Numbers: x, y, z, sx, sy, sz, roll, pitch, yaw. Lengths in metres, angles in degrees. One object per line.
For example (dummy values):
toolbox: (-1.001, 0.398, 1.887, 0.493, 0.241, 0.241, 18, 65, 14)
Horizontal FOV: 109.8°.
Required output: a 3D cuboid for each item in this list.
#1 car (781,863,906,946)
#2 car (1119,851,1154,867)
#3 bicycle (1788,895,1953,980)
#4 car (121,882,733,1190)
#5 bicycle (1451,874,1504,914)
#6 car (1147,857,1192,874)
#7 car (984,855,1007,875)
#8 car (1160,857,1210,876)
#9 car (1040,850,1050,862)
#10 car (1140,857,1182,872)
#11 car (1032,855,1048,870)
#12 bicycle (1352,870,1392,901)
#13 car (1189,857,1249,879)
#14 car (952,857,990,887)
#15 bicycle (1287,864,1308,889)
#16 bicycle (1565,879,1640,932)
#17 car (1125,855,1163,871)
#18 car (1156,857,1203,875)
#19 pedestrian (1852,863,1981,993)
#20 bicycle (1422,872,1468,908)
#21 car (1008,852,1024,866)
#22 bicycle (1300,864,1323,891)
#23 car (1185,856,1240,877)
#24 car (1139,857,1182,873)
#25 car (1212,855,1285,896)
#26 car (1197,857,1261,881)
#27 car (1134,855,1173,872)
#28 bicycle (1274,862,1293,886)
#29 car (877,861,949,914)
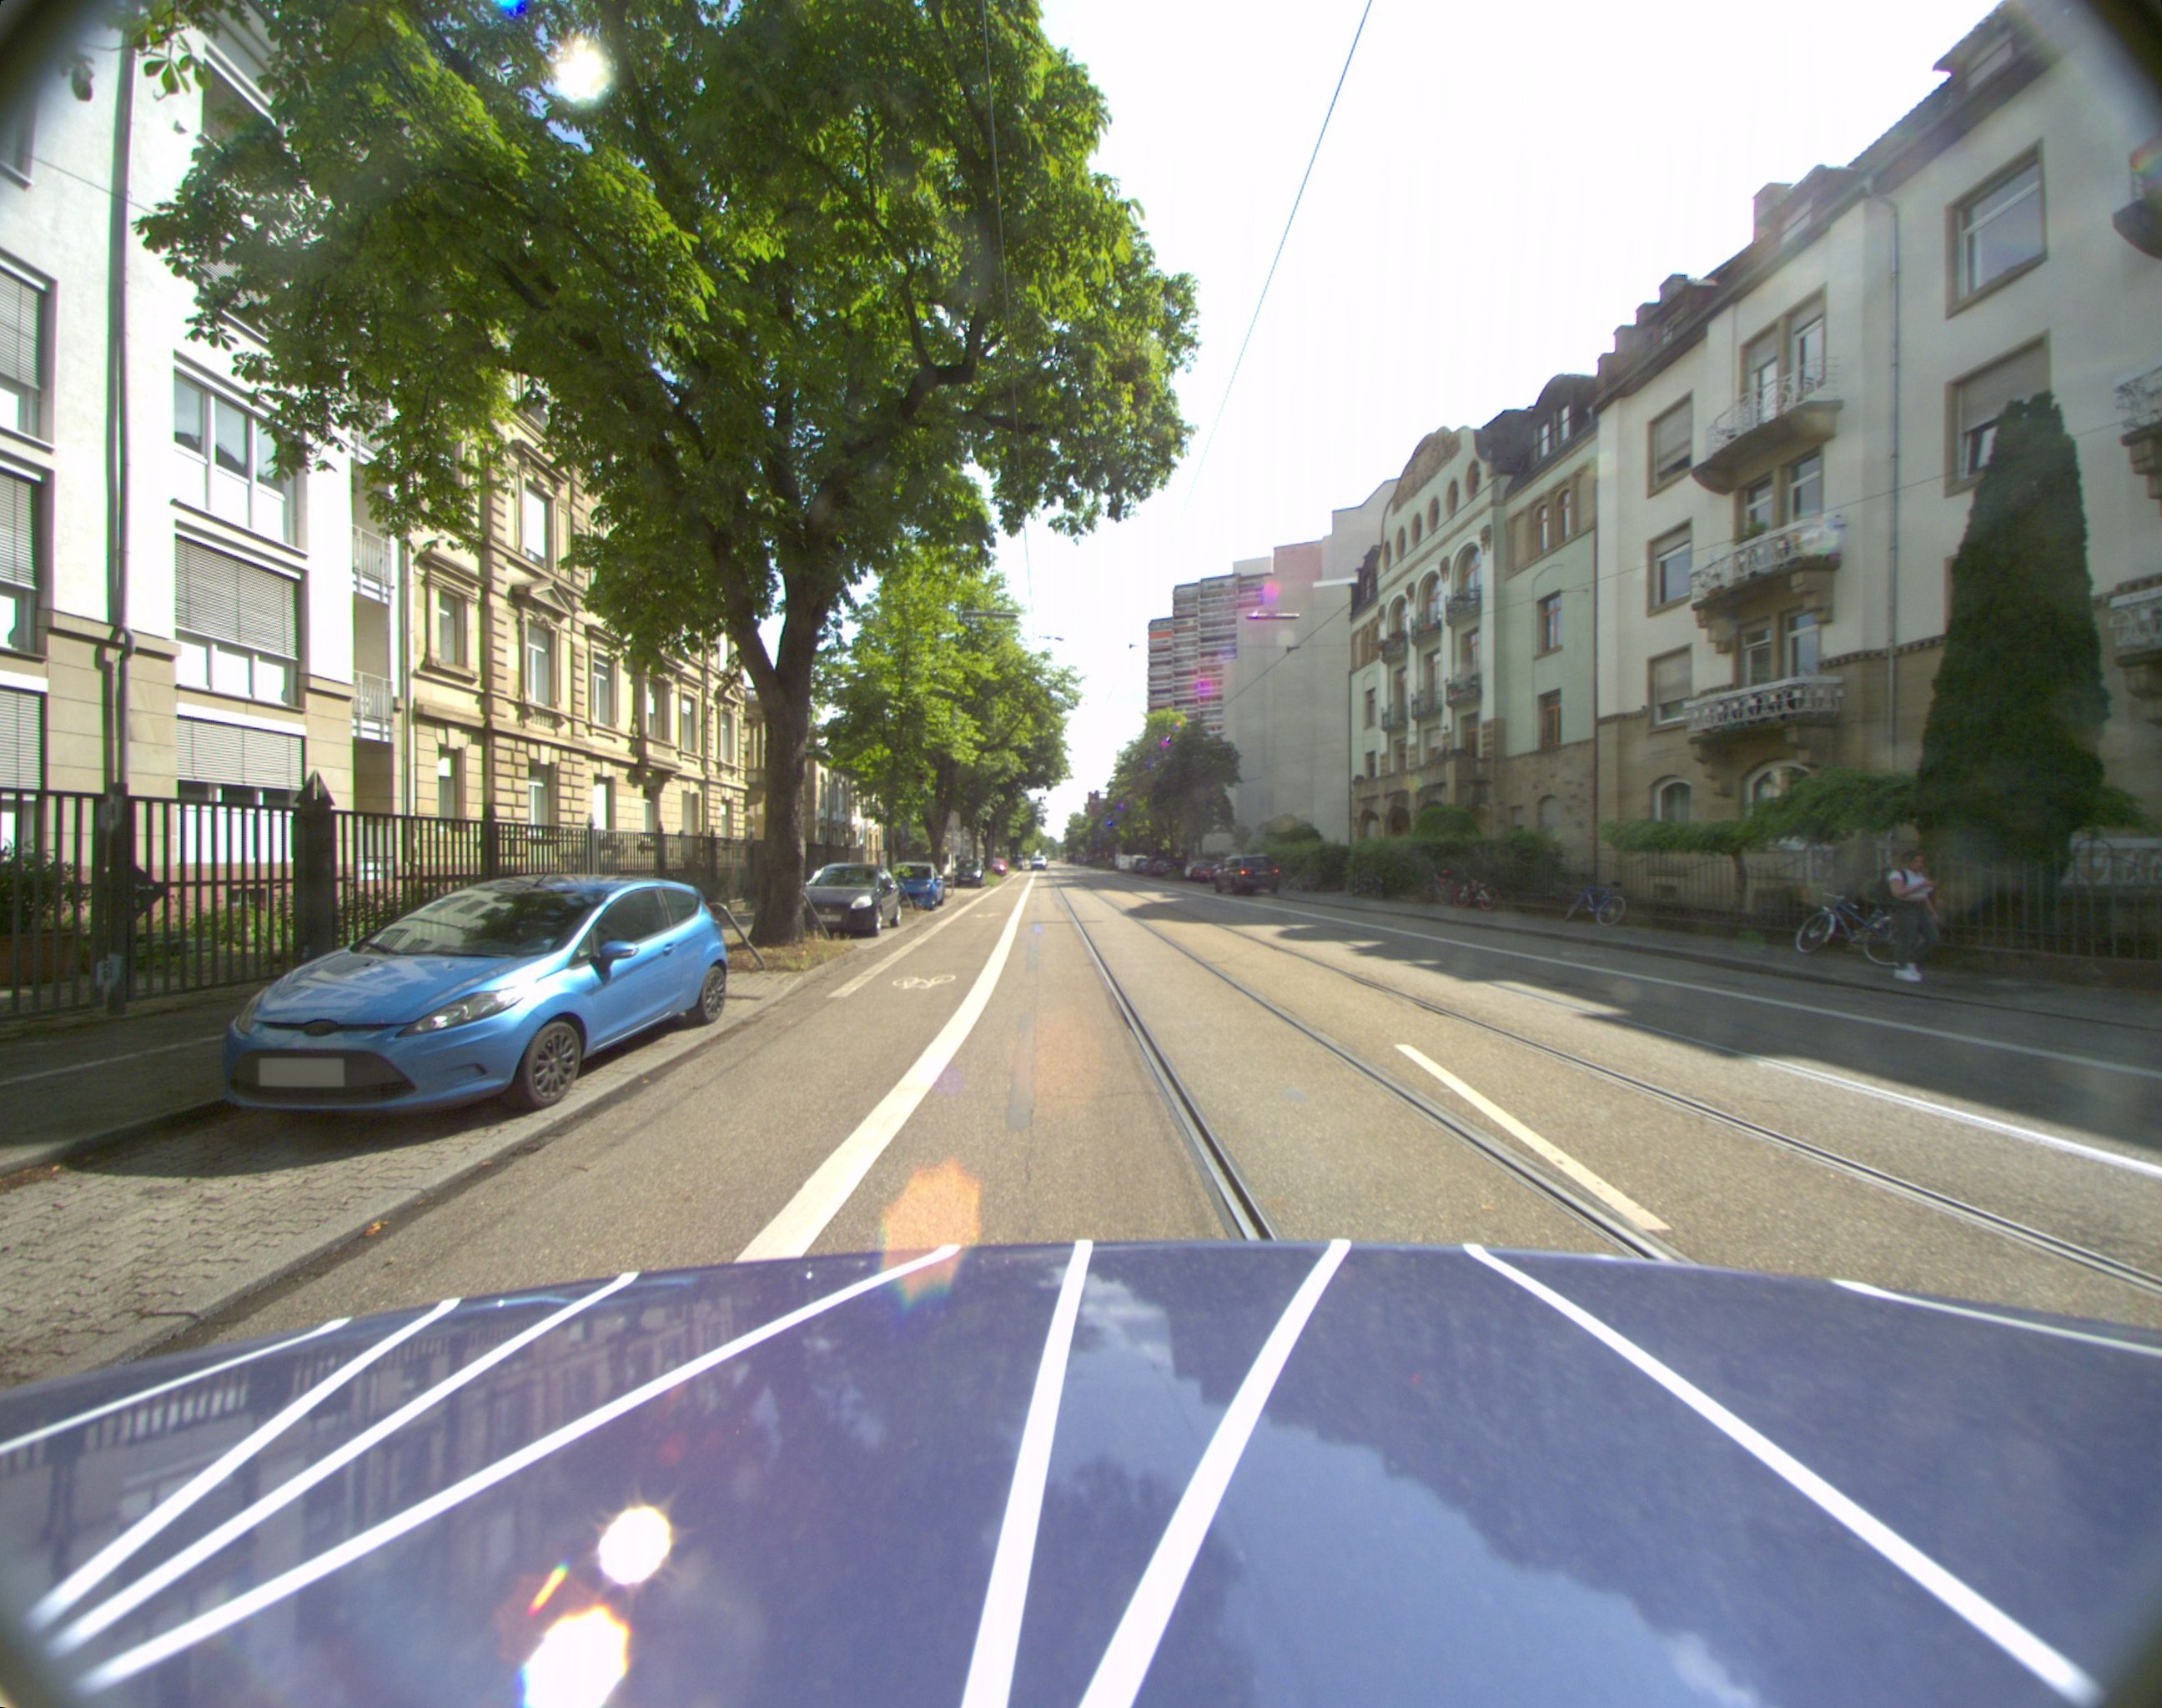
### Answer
car: (-4.903, 0.983, 16.195, 1.679, 1.467, 3.659, 3, 0, -4)
car: (6.530, 0.612, 88.933, 1.994, 1.740, 4.008, -1, 1, 41)
bicycle: (11.103, 1.128, 10.791, 0.467, 0.990, 1.979, 0, 0, 7)
car: (-4.323, 1.049, 5.895, 1.647, 1.467, 3.660, 3, 0, -3)
bicycle: (10.679, 1.050, 20.521, 0.468, 0.990, 1.787, 0, 0, -1)
car: (7.997, 1.065, 68.826, 3.994, 1.499, 2.001, 0, 0, 8)
car: (-7.416, 0.953, 65.947, 1.744, 1.564, 3.928, 3, 0, -4)
car: (8.583, 1.010, 62.550, 3.994, 1.499, 2.001, 0, 0, 8)
car: (-7.364, 0.407, 155.664, 2.146, 2.568, 4.817, 0, 0, -2)
car: (7.929, 1.041, 75.196, 3.994, 1.499, 2.001, 0, 0, 8)
car: (-5.320, 1.085, 99.859, 1.974, 1.901, 4.817, 0, 0, -2)
bicycle: (10.138, 1.082, 26.507, 0.605, 0.990, 1.981, 0, 0, -1)
car: (9.576, 0.984, 52.952, 3.994, 1.499, 2.001, 0, 0, 8)
car: (-6.176, 0.993, 42.989, 1.744, 1.564, 3.659, 3, 0, -4)
bicycle: (10.116, 1.021, 35.560, 0.468, 1.128, 1.787, 0, 0, -1)
bicycle: (10.963, 1.058, 16.036, 0.467, 0.990, 1.787, 0, 0, 5)
car: (6.941, 0.947, 83.097, 3.994, 1.672, 2.001, 0, 0, 8)
car: (8.491, 1.025, 65.706, 3.994, 1.499, 2.001, 0, 0, 8)
pedestrian: (10.317, 0.881, 9.410, 0.759, 1.532, 0.765, 0, 0, -2)
bicycle: (10.720, 1.045, 22.419, 0.468, 0.990, 1.787, 0, 0, -1)
car: (-7.715, 0.612, 90.622, 1.744, 1.564, 3.928, 3, 0, -4)
bicycle: (10.196, 1.040, 33.618, 0.468, 1.128, 1.787, 0, 0, -1)
car: (9.717, 0.904, 56.500, 3.994, 1.499, 2.001, 0, 0, 8)
car: (7.596, 1.041, 72.036, 3.994, 1.499, 2.001, 0, 0, 8)
car: (7.293, 0.873, 33.483, 1.922, 1.685, 4.400, 0, 0, -5)
car: (9.606, 0.972, 49.444, 3.994, 1.499, 2.001, 0, 0, 8)
car: (7.517, 0.962, 78.671, 3.994, 1.672, 2.001, 0, 0, 8)
bicycle: (10.019, 0.978, 37.657, 0.468, 1.128, 1.787, 0, 0, -1)
car: (-5.300, 1.007, 24.410, 1.679, 1.467, 3.659, 3, 0, -4)
